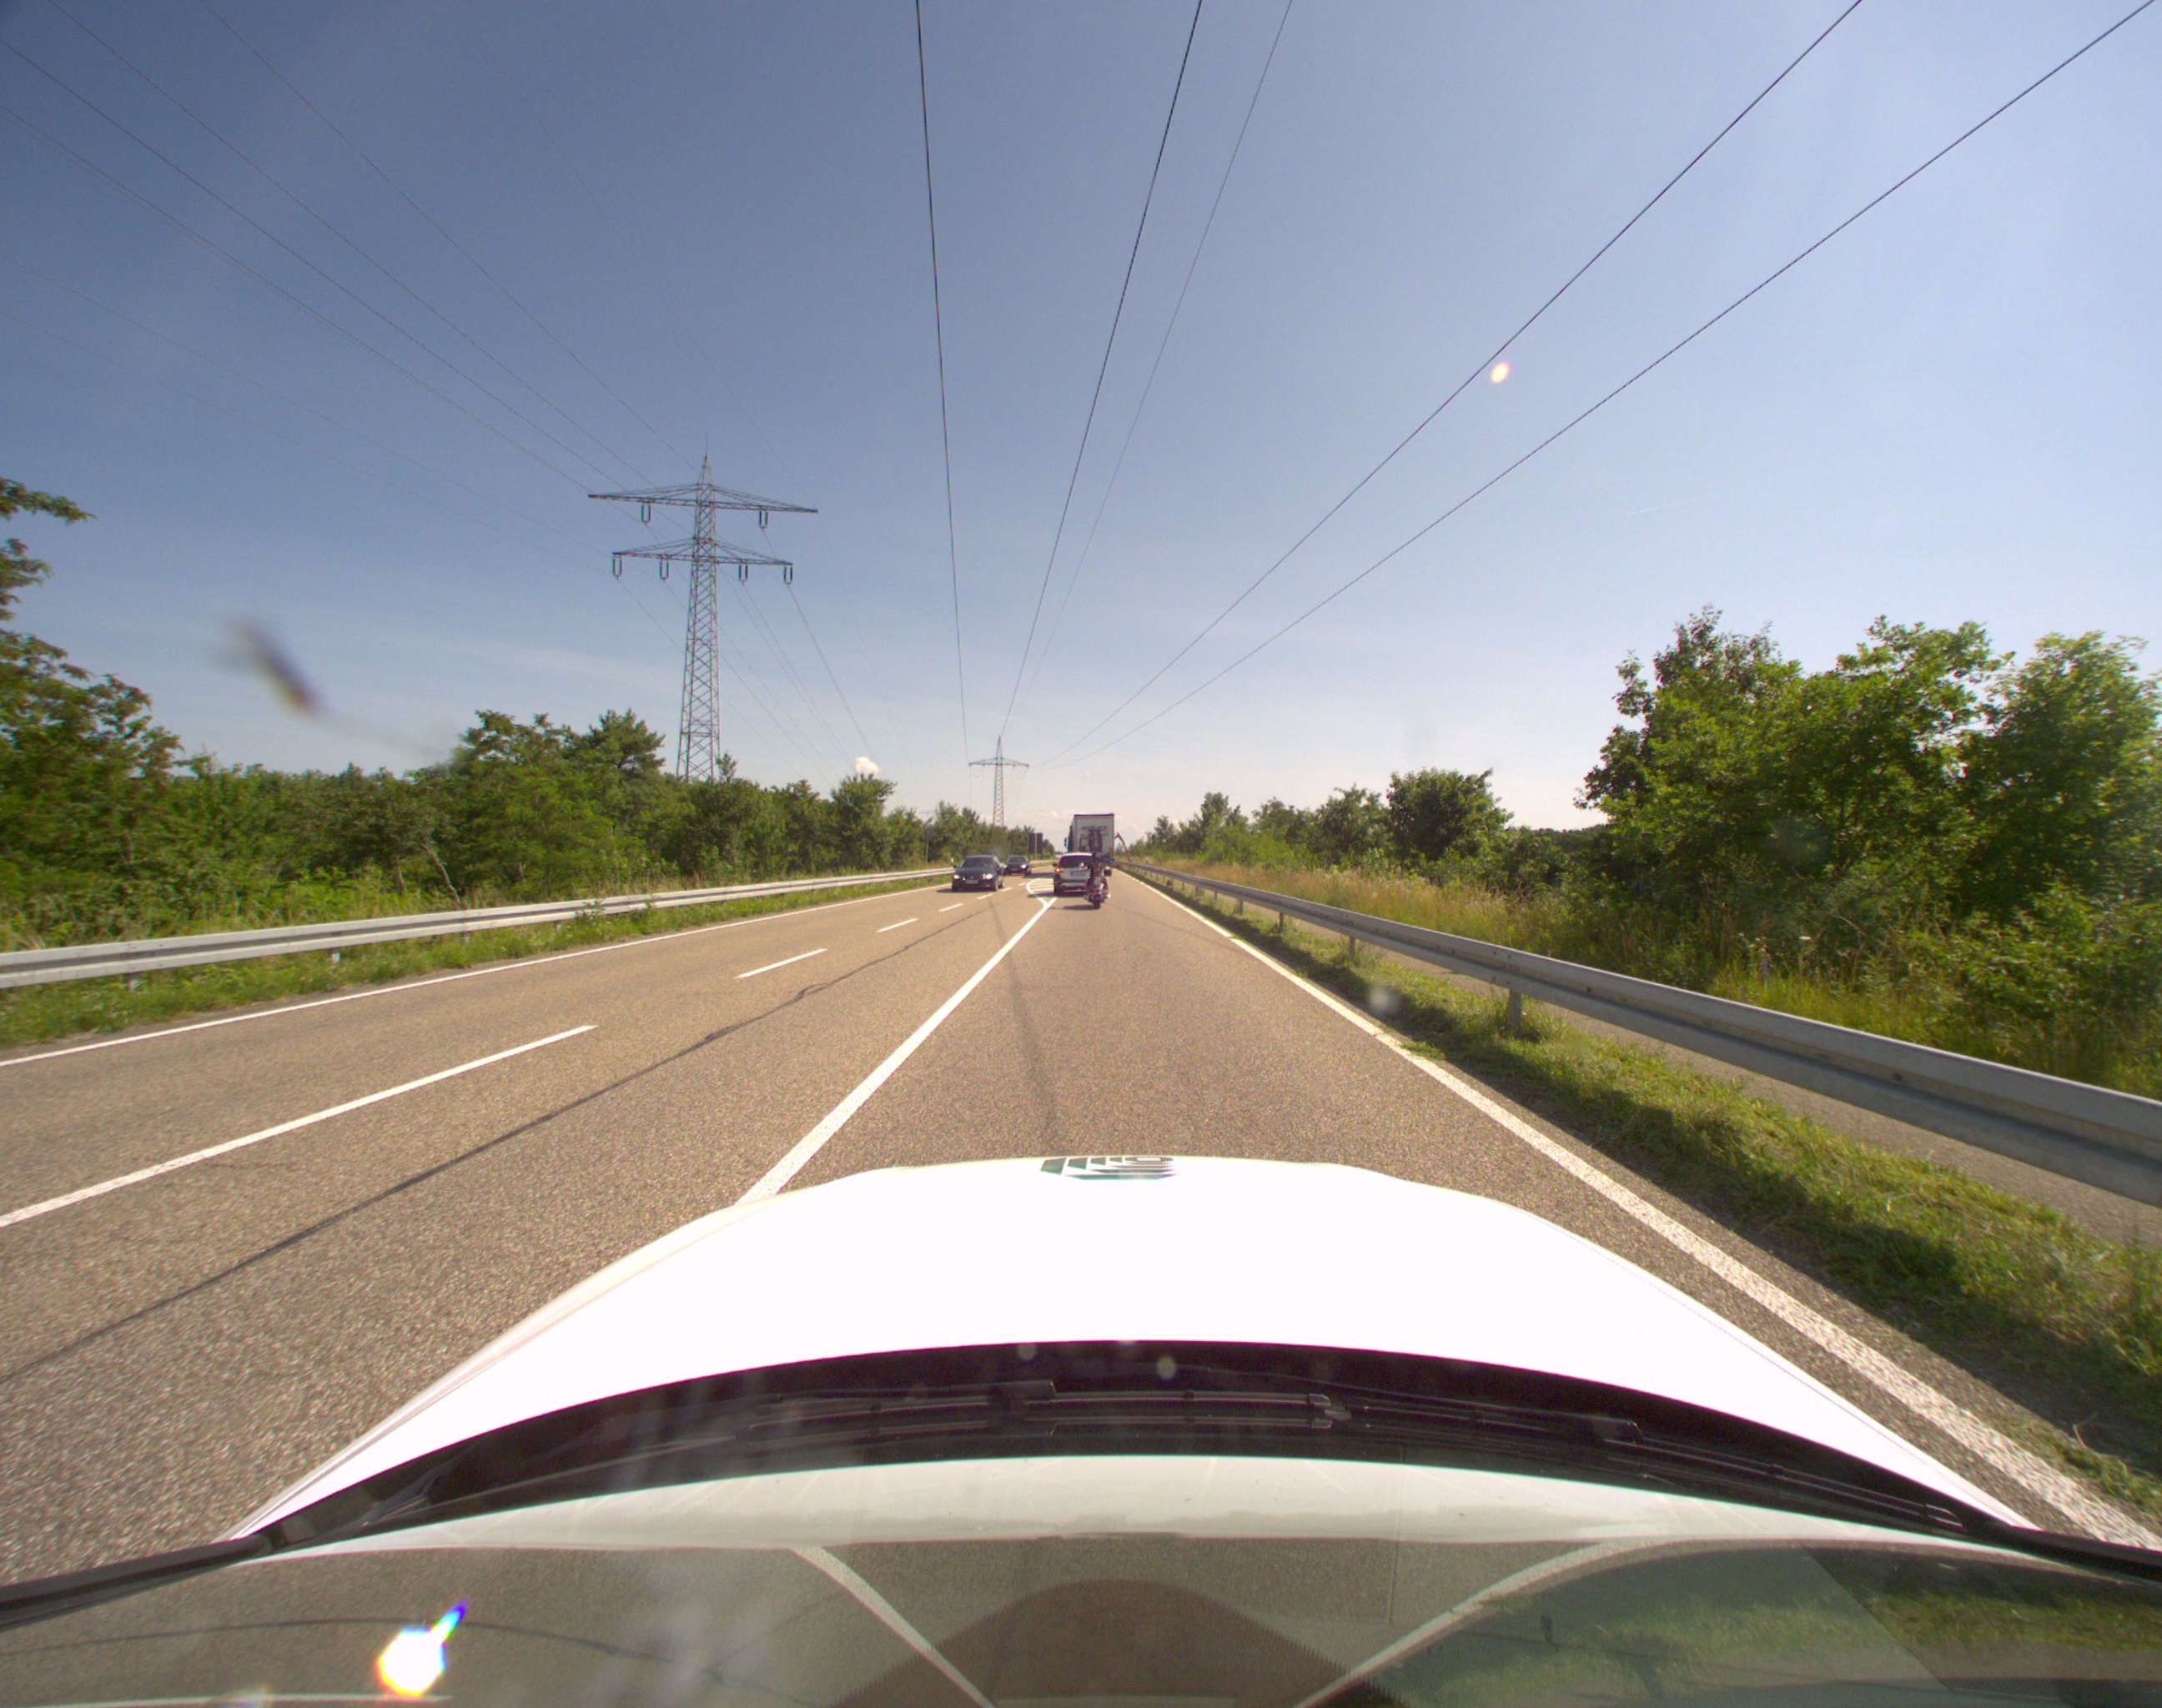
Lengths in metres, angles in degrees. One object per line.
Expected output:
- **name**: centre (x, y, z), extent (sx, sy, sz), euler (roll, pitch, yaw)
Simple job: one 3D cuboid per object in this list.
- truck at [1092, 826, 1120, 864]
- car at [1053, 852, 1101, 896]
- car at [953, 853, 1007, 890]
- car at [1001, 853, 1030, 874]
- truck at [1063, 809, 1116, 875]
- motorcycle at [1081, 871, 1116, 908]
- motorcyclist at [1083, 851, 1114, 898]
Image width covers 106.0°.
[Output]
- **truck**: centre (2.519, -0.906, 82.713), extent (2.605, 3.711, 6.776), euler (0, 0, 0)
- **car**: centre (-0.105, 0.691, 30.209), extent (1.695, 1.536, 3.500), euler (0, 0, 1)
- **car**: centre (-4.269, 0.708, 35.000), extent (1.721, 1.491, 4.423), euler (-1, 0, 1)
- **car**: centre (-4.762, 0.666, 59.700), extent (1.653, 1.442, 4.216), euler (-1, 0, 2)
- **truck**: centre (0.385, -0.796, 59.276), extent (2.961, 4.187, 14.804), euler (0, 0, -3)
- **motorcycle**: centre (0.469, 0.973, 22.762), extent (0.856, 0.915, 2.226), euler (-1, 0, -1)
- **motorcyclist**: centre (0.472, 0.564, 22.740), extent (0.835, 1.280, 0.919), euler (0, 0, -1)
